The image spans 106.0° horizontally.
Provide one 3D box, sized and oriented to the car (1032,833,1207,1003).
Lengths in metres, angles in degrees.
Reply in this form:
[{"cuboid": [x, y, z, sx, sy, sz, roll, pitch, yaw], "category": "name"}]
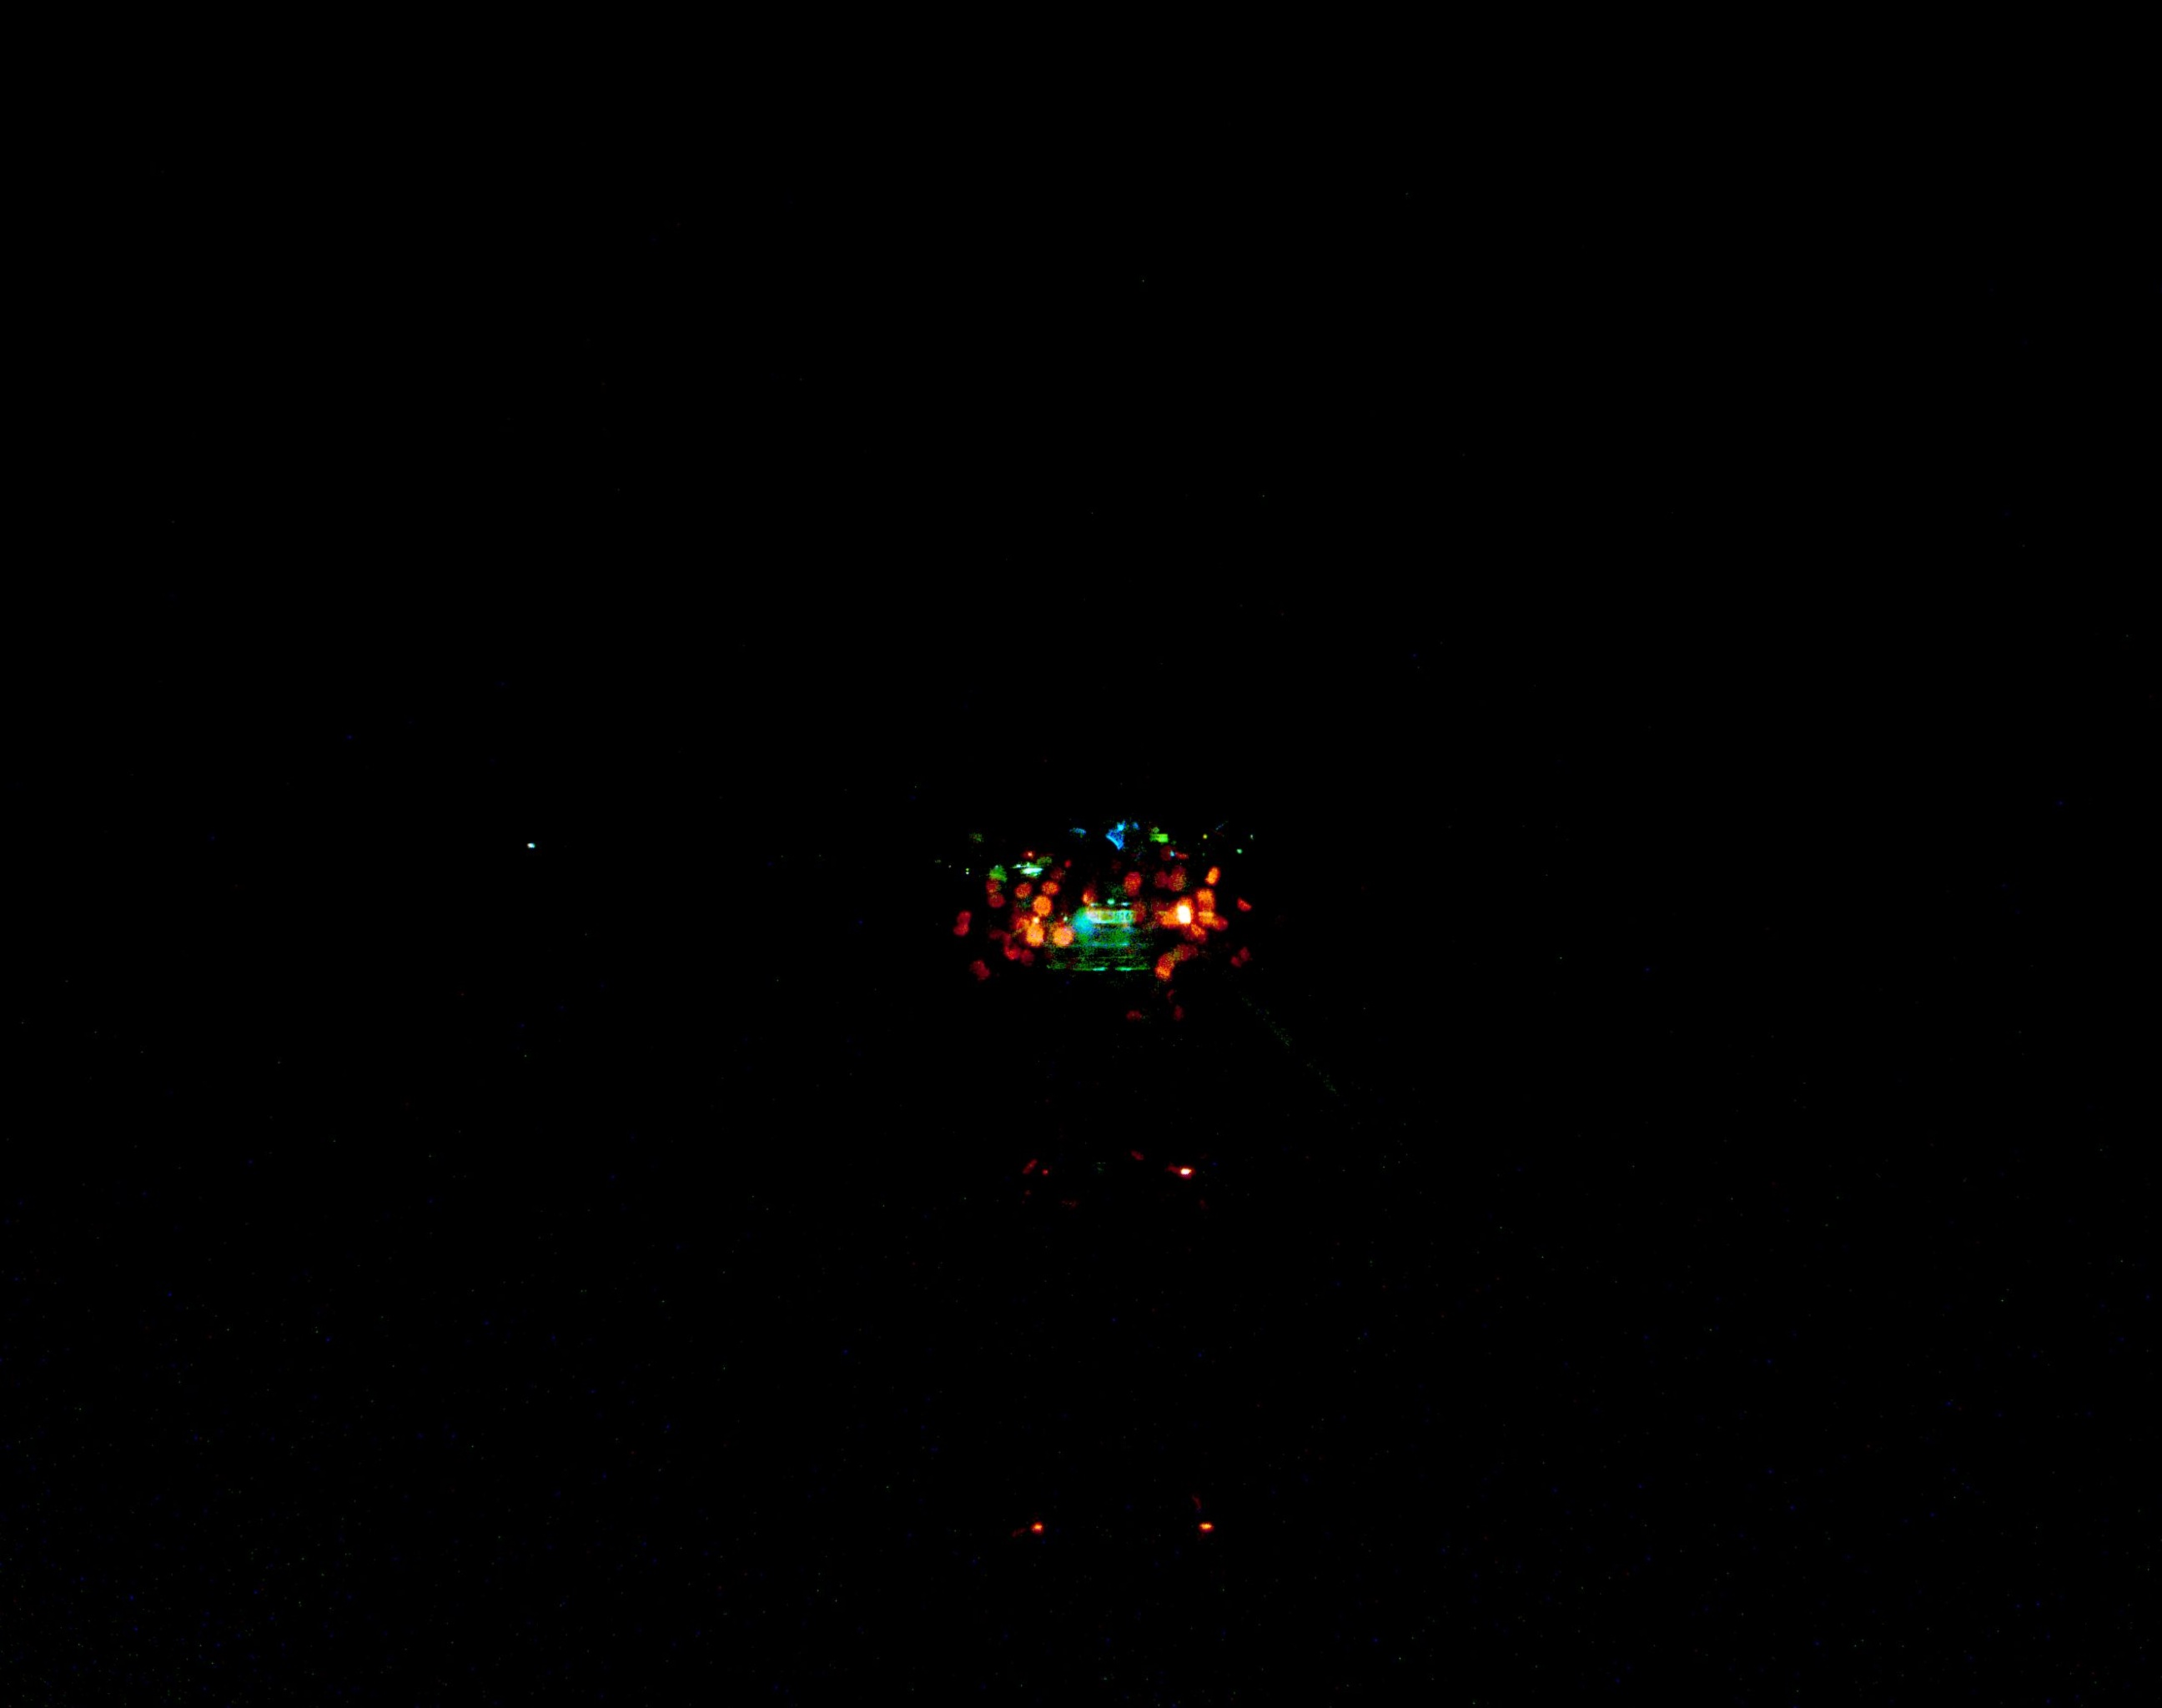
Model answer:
[{"cuboid": [0.480, 0.687, 10.353, 1.768, 1.712, 4.002, -1, -1, 2], "category": "car"}]
